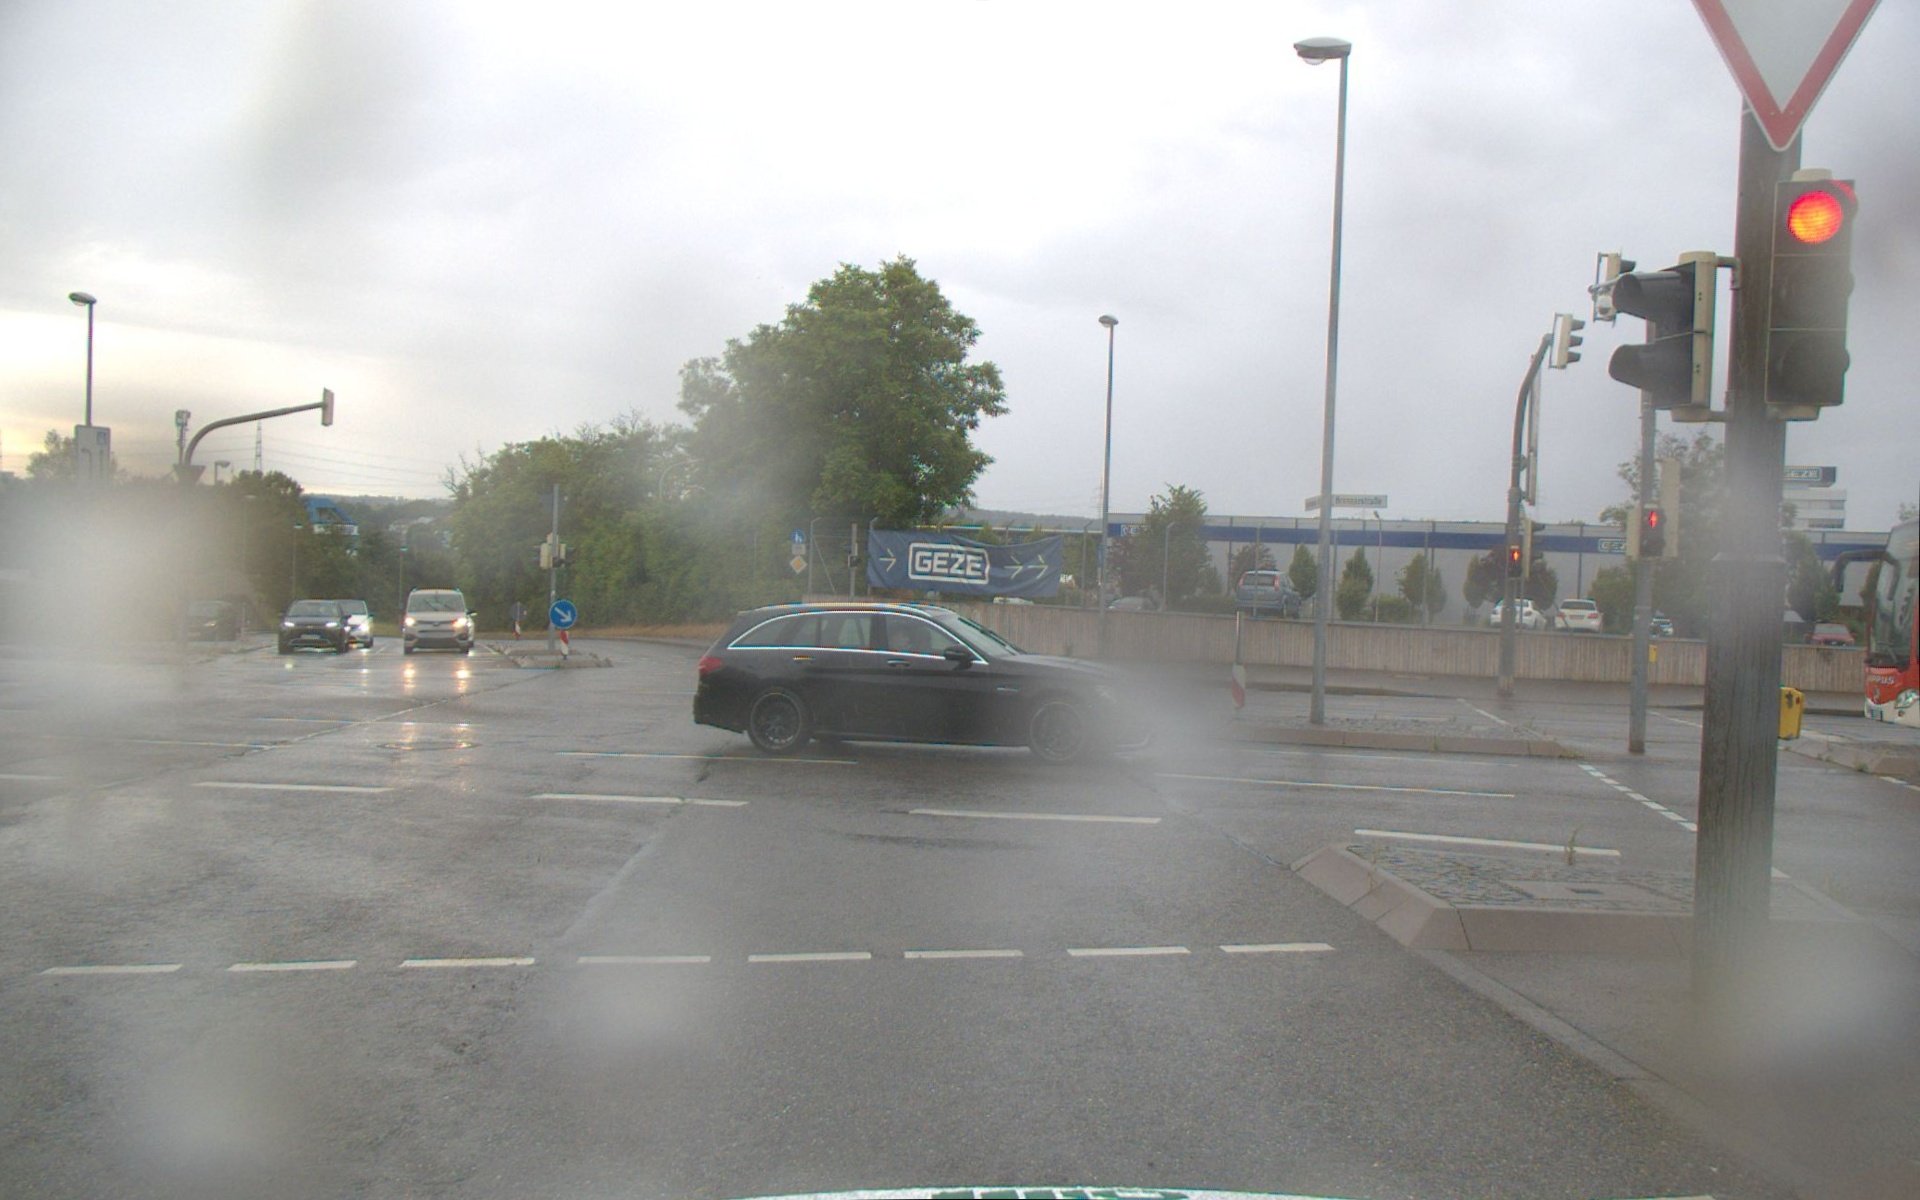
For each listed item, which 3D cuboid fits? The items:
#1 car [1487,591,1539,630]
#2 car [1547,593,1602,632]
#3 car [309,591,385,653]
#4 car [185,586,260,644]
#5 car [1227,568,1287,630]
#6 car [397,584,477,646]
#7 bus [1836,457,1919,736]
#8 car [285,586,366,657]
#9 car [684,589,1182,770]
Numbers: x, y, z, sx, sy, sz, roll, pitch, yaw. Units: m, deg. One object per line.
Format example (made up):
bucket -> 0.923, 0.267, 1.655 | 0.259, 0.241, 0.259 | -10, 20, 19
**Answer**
car -> 22.957, 0.411, 68.659 | 1.952, 1.504, 4.001 | 2, 0, 19
car -> 25.253, 0.481, 68.071 | 1.952, 1.504, 4.001 | 2, 0, 19
car -> -20.369, 0.707, 55.088 | 1.960, 1.928, 3.984 | 1, 0, -15
car -> -26.216, 0.504, 58.897 | 1.962, 1.928, 3.981 | 1, 0, -18
car -> 10.391, -0.046, 57.855 | 1.951, 2.049, 4.003 | 1, 0, 11
car -> -14.956, 0.409, 47.449 | 1.961, 1.646, 3.984 | 1, 0, -15
bus -> 17.634, 0.221, 19.914 | 12.019, 3.379, 3.076 | 3, 1, 17
car -> -18.381, 0.590, 48.028 | 1.963, 1.928, 3.979 | 1, 0, -19
car -> -0.210, 0.712, 16.469 | 4.560, 1.502, 2.002 | 2, 0, 15
